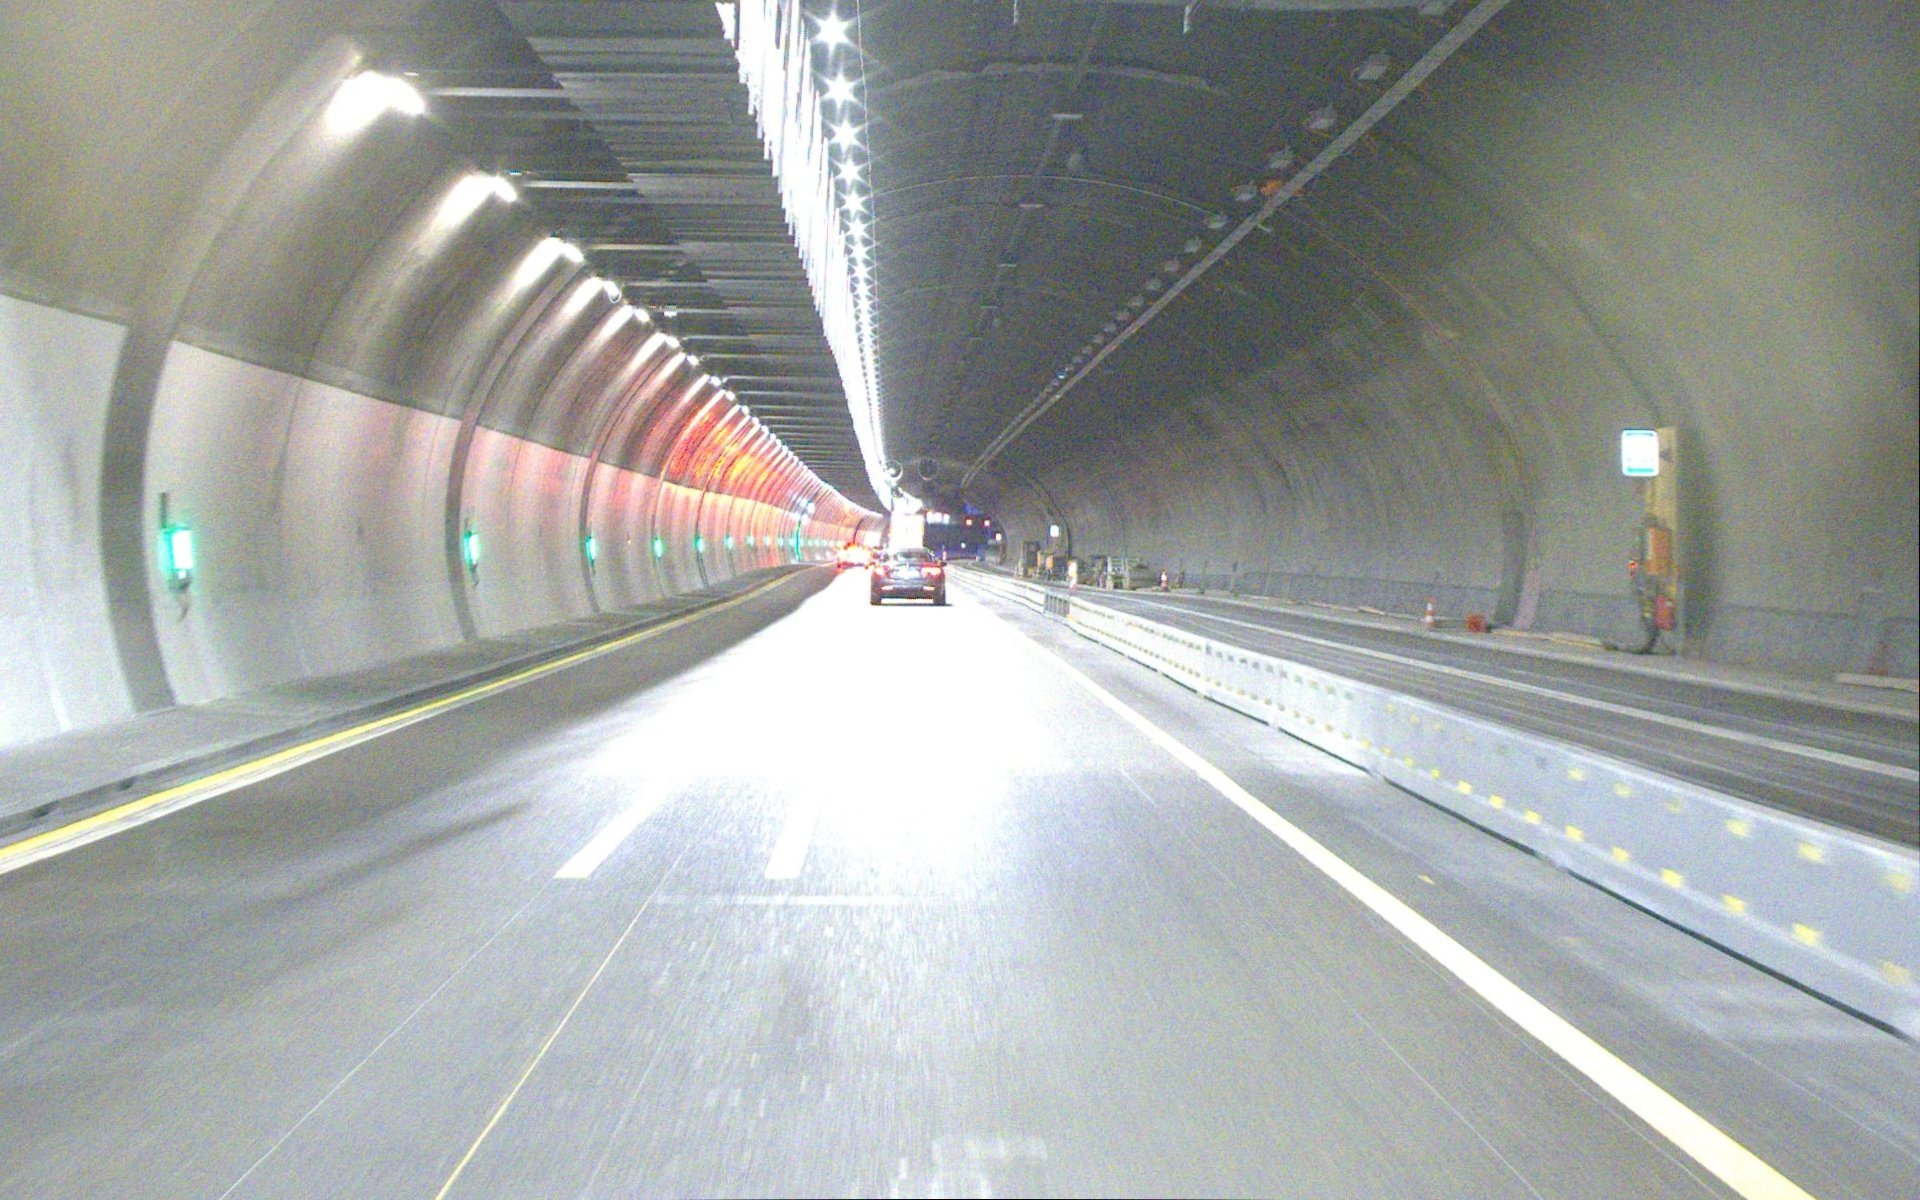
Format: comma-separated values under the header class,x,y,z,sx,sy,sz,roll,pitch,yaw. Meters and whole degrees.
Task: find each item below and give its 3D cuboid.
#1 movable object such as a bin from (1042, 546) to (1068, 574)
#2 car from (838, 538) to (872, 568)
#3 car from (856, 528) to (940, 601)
class,x,y,z,sx,sy,sz,roll,pitch,yaw
movable object such as a bin,5.115,-2.168,184.668,1.234,1.437,2.217,2,1,-1
car,-5.971,-2.712,196.191,1.930,1.681,4.001,0,1,-2
car,-1.573,-0.915,86.299,1.946,1.788,4.001,0,1,-3
